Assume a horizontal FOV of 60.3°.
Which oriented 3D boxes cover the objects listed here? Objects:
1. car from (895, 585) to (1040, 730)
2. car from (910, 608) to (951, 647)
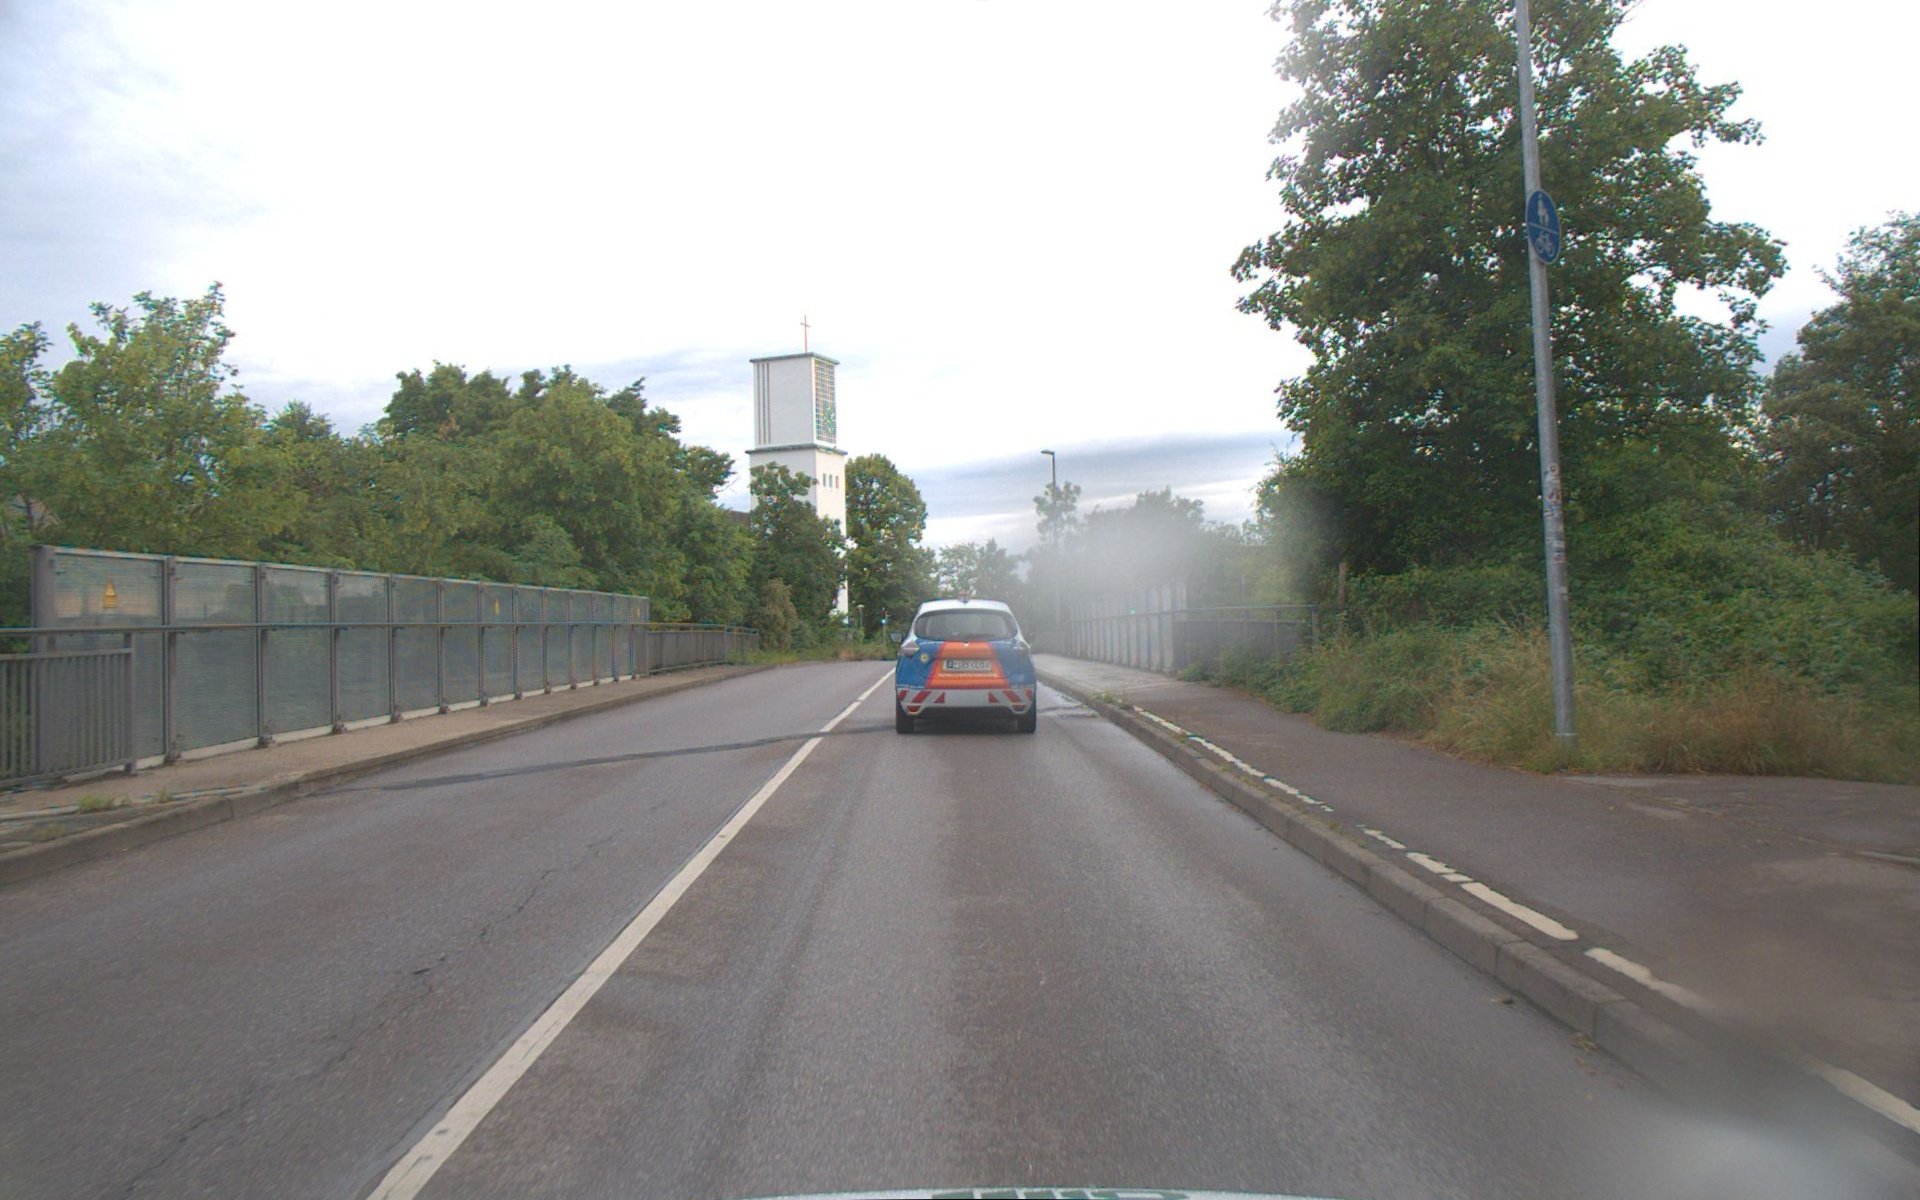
[{"bbox_3d":[0.060,0.659,20.667,1.624,1.621,3.567,-1,0,-1],"label":"car"},{"bbox_3d":[-1.361,1.257,75.954,1.766,1.617,3.562,-3,0,-1],"label":"car"}]
